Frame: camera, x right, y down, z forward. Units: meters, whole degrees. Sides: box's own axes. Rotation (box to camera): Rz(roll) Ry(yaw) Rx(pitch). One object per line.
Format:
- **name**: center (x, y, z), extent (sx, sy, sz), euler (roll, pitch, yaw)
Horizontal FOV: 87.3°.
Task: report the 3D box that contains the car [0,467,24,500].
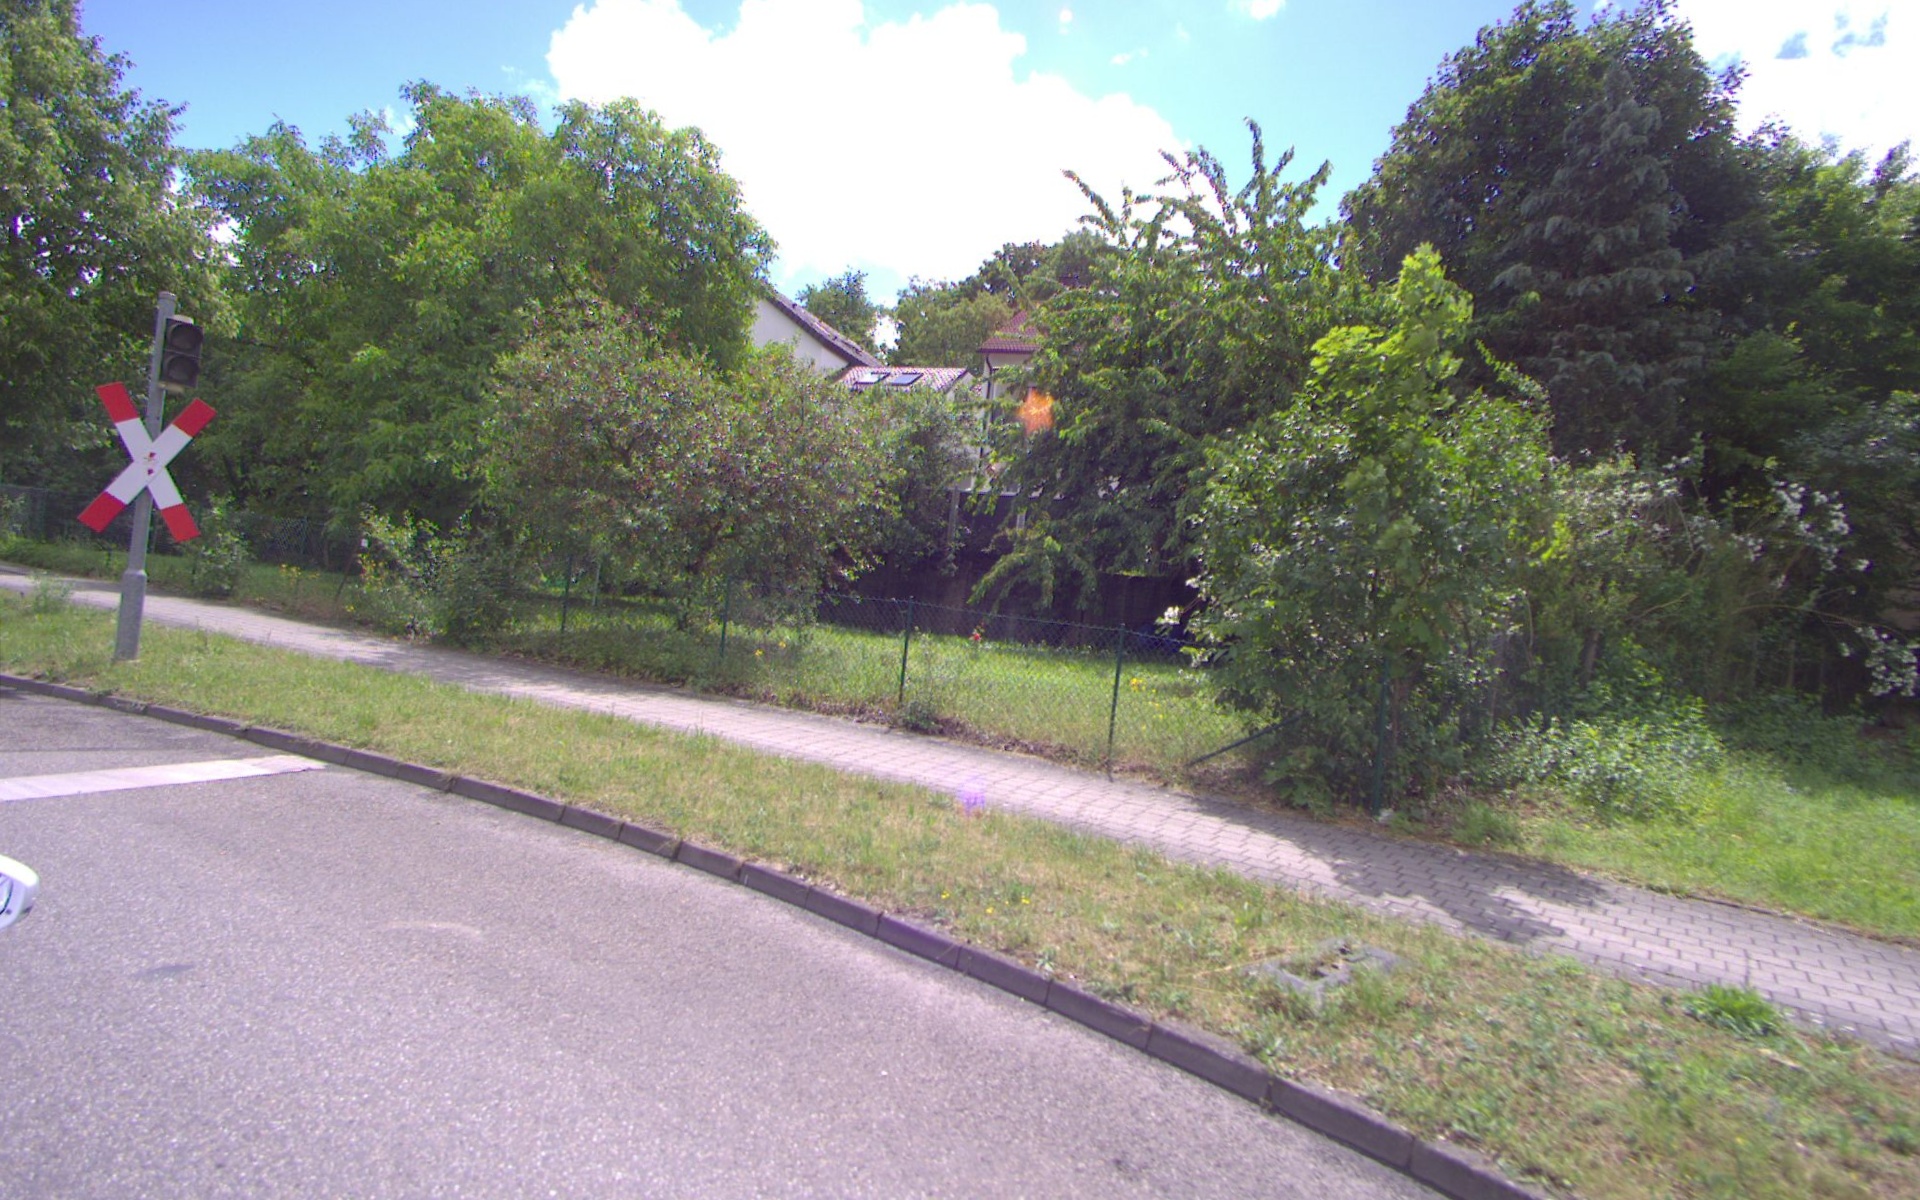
- **car**: center (-53.121, -6.376, 53.747), extent (1.974, 1.694, 4.506), euler (5, 3, 44)
